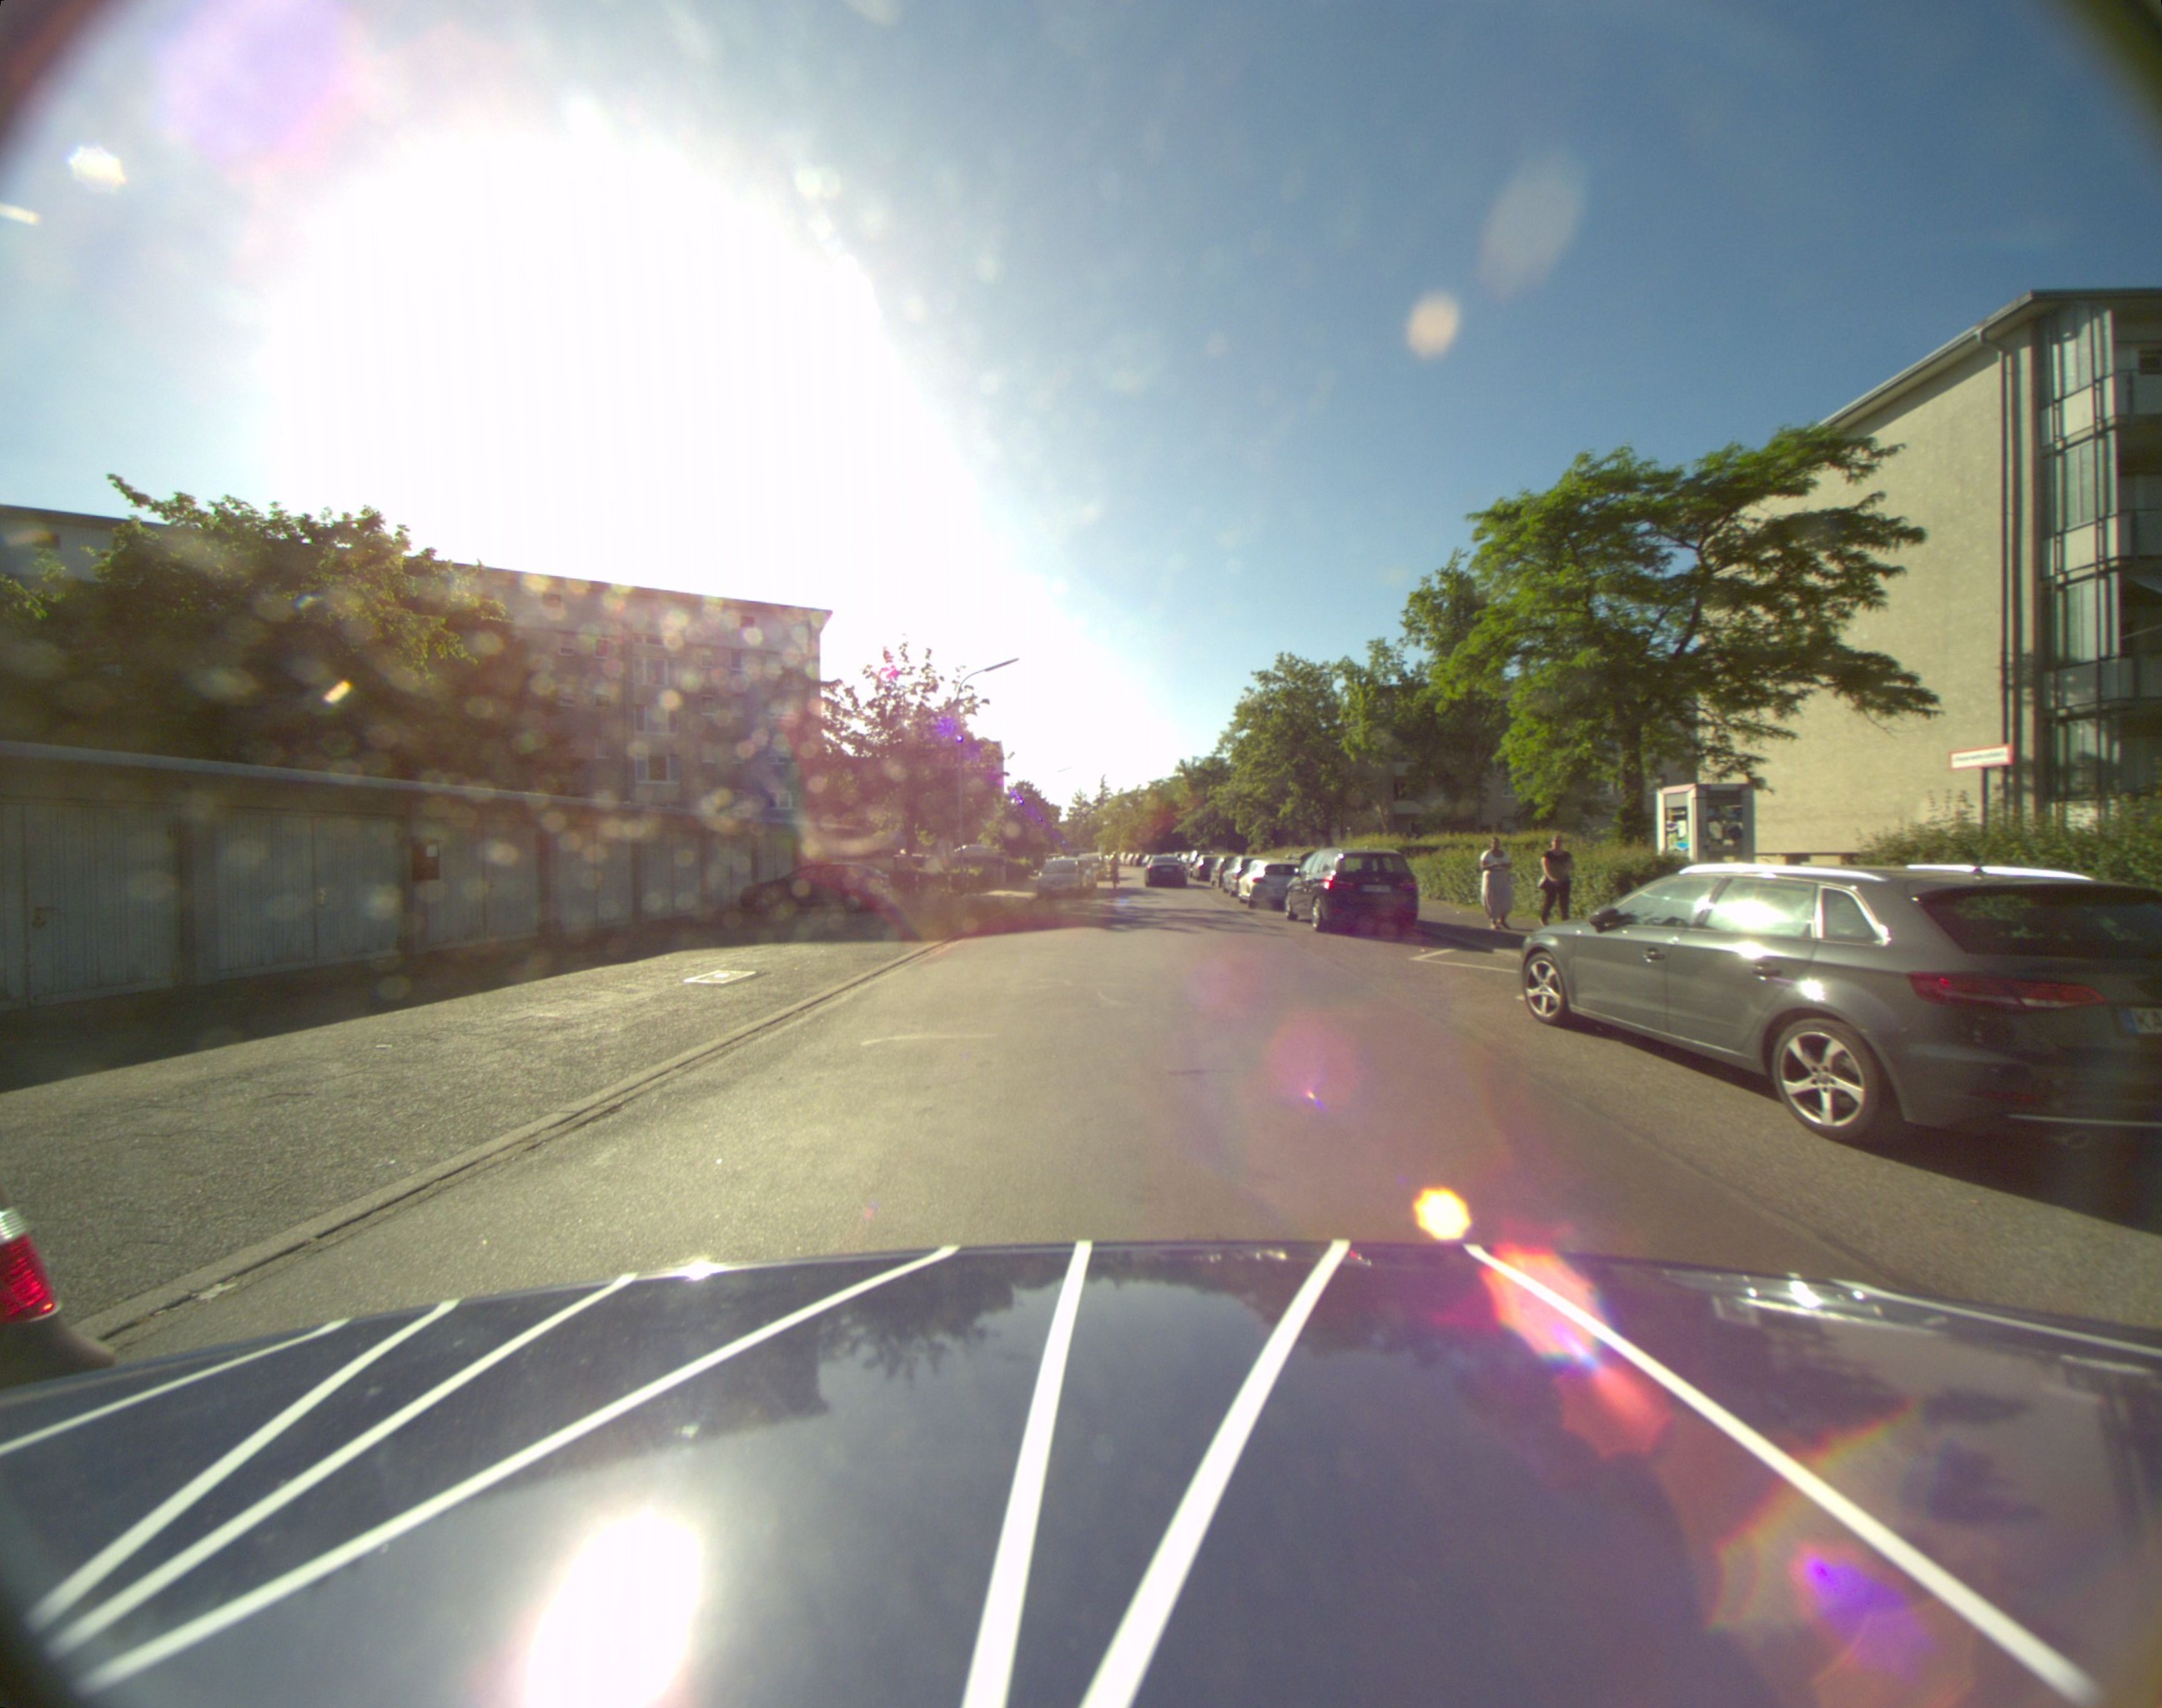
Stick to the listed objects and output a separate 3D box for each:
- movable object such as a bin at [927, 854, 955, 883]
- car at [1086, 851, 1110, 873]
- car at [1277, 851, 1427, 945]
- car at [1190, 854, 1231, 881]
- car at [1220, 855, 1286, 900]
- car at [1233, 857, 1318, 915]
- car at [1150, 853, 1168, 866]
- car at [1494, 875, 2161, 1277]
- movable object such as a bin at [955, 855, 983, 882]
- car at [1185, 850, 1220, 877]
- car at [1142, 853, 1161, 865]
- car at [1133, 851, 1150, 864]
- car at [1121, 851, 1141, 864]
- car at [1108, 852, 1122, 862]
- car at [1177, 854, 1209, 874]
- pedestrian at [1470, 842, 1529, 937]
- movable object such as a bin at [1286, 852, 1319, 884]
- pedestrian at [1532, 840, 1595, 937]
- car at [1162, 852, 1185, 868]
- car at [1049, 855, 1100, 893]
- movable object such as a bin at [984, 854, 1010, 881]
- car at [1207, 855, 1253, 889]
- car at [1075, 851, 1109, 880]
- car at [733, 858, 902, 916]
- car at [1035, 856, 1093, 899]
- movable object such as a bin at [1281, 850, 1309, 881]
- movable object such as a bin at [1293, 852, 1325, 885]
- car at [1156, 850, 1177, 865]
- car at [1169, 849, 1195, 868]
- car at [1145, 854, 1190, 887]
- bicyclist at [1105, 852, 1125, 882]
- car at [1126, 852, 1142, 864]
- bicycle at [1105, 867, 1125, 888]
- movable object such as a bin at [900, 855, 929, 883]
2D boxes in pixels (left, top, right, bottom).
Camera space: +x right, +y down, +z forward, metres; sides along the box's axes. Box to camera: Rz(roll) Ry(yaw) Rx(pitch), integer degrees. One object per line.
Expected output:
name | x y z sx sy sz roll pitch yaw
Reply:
movable object such as a bin | -7.576 0.769 41.239 1.328 1.528 1.029 -2 1 -2
car | 1.311 0.626 60.601 1.758 1.664 4.413 -2 0 0
car | 5.356 0.772 15.657 1.758 1.626 4.371 1 0 4
car | 7.295 0.712 43.200 1.758 1.377 4.674 0 1 3
car | 6.260 0.794 28.147 1.758 1.481 4.903 2 0 6
car | 5.559 0.851 22.174 1.758 1.417 4.211 1 1 6
car | 8.689 0.605 85.318 1.658 1.470 3.105 0 0 -1
car | 4.689 0.932 5.053 1.758 1.412 4.270 1 0 4
movable object such as a bin | -6.084 0.788 41.260 1.328 1.423 1.029 -2 1 -2
car | 7.687 0.585 48.321 1.758 1.659 4.391 0 0 3
car | 8.385 0.588 90.369 1.658 1.470 3.734 0 0 -4
car | 7.755 0.474 97.650 1.658 1.621 4.071 0 0 -2
car | 7.187 0.508 109.773 1.885 1.857 5.436 0 0 -6
car | 5.444 0.452 121.505 1.659 1.558 3.688 0 0 -7
car | 7.984 0.664 54.344 1.642 1.377 4.170 0 0 0
pedestrian | 7.594 0.629 13.797 0.722 1.669 0.616 -1 1 4
movable object such as a bin | 10.310 0.645 35.482 1.122 1.358 1.257 -4 1 2
pedestrian | 8.570 0.601 13.521 0.722 1.669 0.600 -1 1 4
car | 8.888 0.553 72.947 1.811 1.470 3.940 0 0 1
car | -0.224 0.854 34.448 1.835 1.537 4.642 -2 0 5
movable object such as a bin | -4.539 0.707 41.248 1.328 1.419 1.070 1 0 -2
car | 6.932 0.808 35.589 1.652 1.455 3.496 0 0 3
car | 0.749 0.677 47.127 1.758 1.617 4.496 -2 0 5
car | -7.539 0.927 22.015 4.192 1.486 1.818 -2 0 1
car | -0.598 0.871 29.518 1.808 1.486 3.796 -2 0 5
movable object such as a bin | 10.361 0.562 36.841 0.896 1.407 1.326 -4 1 2
movable object such as a bin | 10.205 0.627 34.098 1.004 1.407 1.326 -4 1 2
car | 8.799 0.328 78.155 1.635 1.470 3.879 0 0 -1
car | 8.771 0.387 66.145 1.811 1.596 4.433 0 0 2
car | 4.068 0.748 36.452 1.915 1.468 4.571 0 0 3
bicyclist | 1.590 0.589 35.377 0.812 1.348 1.091 -2 1 5
car | 7.211 0.476 103.706 1.658 1.621 3.689 0 0 -4
bicycle | 1.613 1.099 35.493 0.823 0.896 2.204 -2 0 5
movable object such as a bin | -9.020 0.803 41.099 1.325 1.472 1.029 -2 1 -2
